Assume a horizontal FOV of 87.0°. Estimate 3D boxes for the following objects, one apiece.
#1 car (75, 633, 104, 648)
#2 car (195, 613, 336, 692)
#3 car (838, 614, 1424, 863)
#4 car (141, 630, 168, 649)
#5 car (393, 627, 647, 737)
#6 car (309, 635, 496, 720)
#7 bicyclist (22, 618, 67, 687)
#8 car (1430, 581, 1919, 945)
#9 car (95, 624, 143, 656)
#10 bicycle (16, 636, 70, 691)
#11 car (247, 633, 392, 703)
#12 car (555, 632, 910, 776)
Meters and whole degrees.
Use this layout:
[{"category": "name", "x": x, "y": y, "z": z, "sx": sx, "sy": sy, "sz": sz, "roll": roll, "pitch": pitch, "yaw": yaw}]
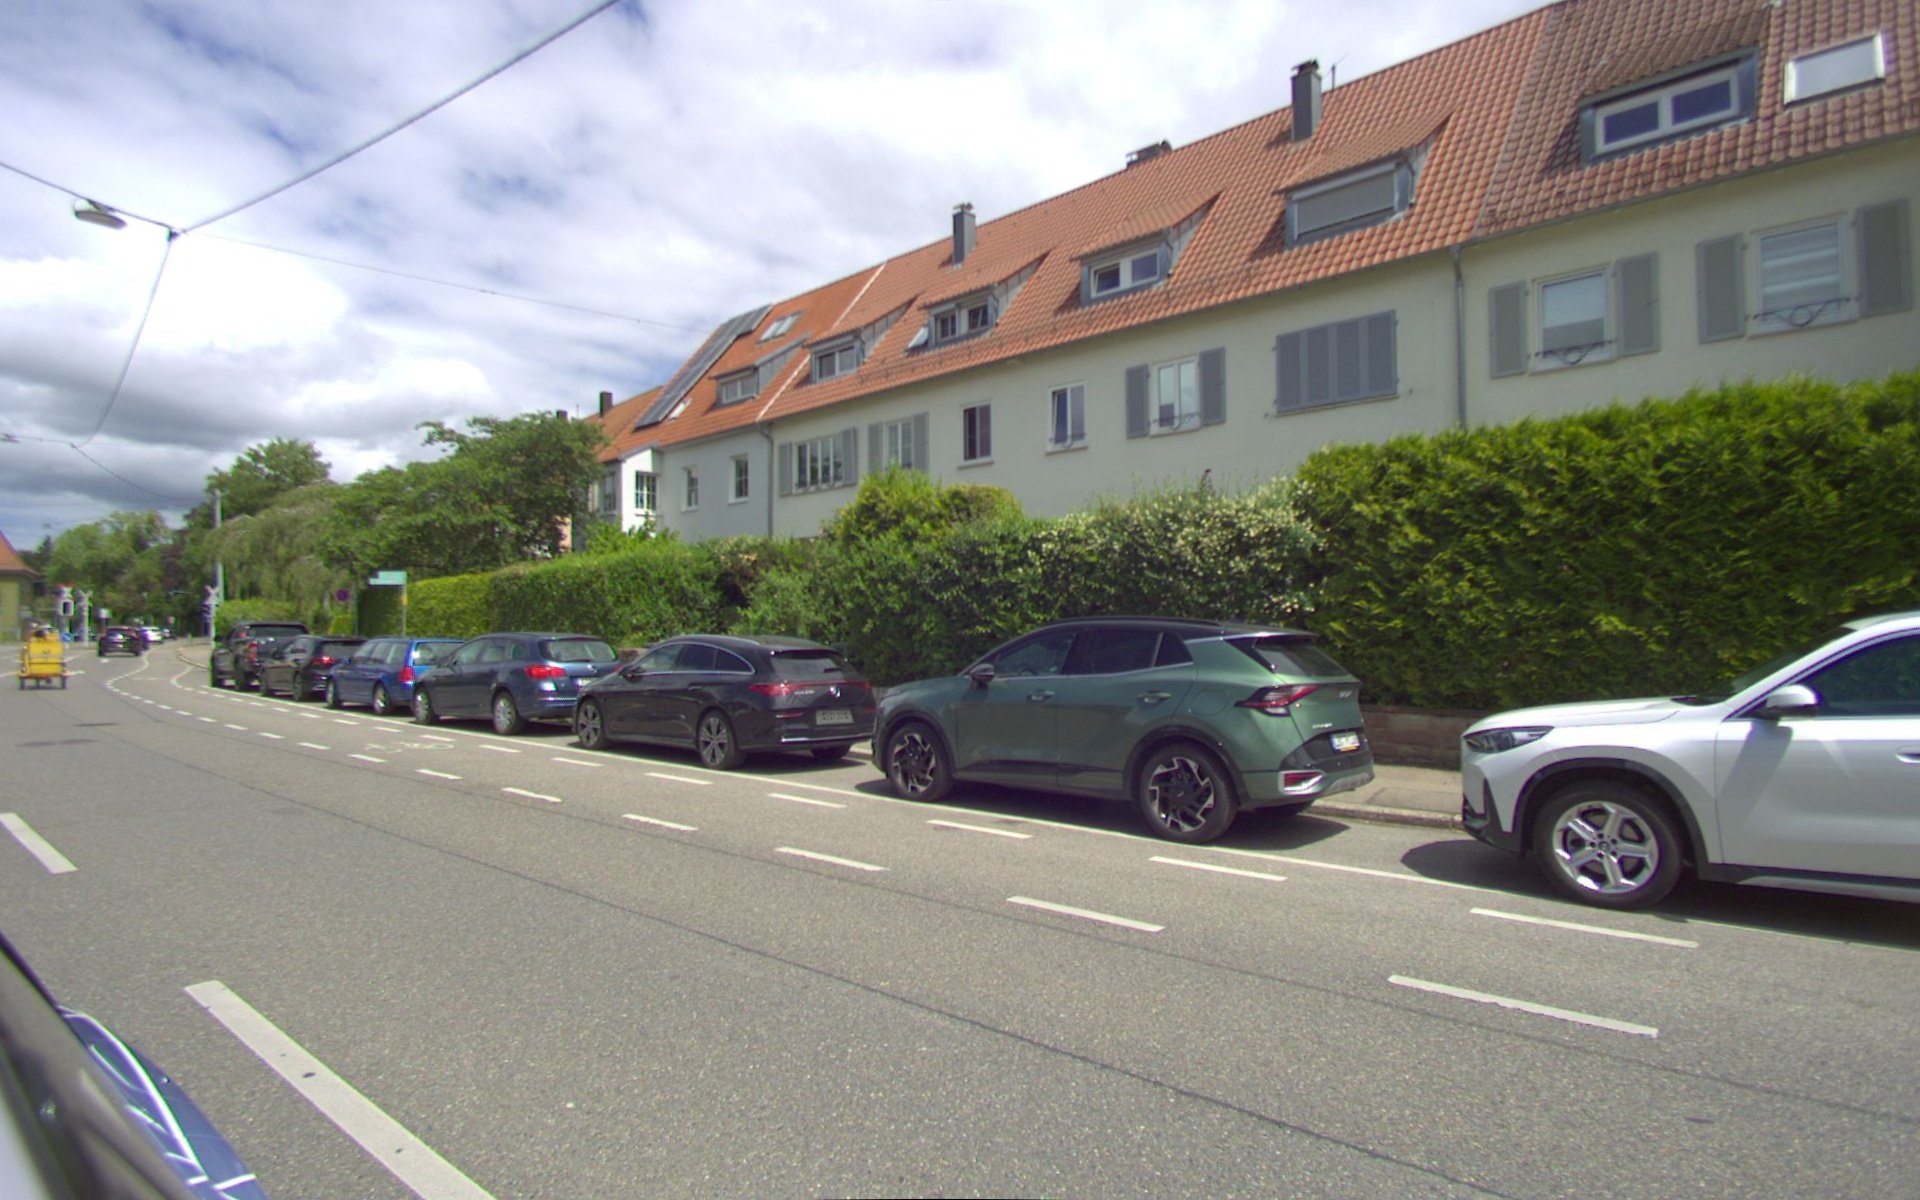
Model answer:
[{"category": "car", "x": -92.421, "y": 4.284, "z": 107.489, "sx": 1.967, "sy": 1.438, "sz": 4.009, "roll": -1, "pitch": 0, "yaw": -37}, {"category": "car", "x": -18.630, "y": 1.373, "z": 27.033, "sx": 5.404, "sy": 1.909, "sz": 1.971, "roll": -2, "pitch": -4, "yaw": 44}, {"category": "car", "x": 1.220, "y": 0.941, "z": 8.744, "sx": 4.689, "sy": 1.576, "sz": 1.972, "roll": -2, "pitch": -2, "yaw": 43}, {"category": "car", "x": -72.784, "y": 3.538, "z": 91.448, "sx": 1.824, "sy": 1.587, "sz": 4.166, "roll": 0, "pitch": -1, "yaw": -39}, {"category": "car", "x": -7.043, "y": 1.193, "z": 16.006, "sx": 4.560, "sy": 1.503, "sz": 1.760, "roll": -1, "pitch": -2, "yaw": 38}, {"category": "car", "x": -10.828, "y": 1.403, "z": 19.515, "sx": 4.438, "sy": 1.428, "sz": 1.759, "roll": -2, "pitch": -2, "yaw": 41}, {"category": "bicyclist", "x": -23.432, "y": 1.322, "z": 25.901, "sx": 0.783, "sy": 1.727, "sz": 1.209, "roll": 1, "pitch": -2, "yaw": -45}, {"category": "car", "x": 5.145, "y": 0.758, "z": 5.290, "sx": 4.514, "sy": 1.663, "sz": 1.973, "roll": -2, "pitch": -2, "yaw": 41}, {"category": "car", "x": -46.816, "y": 2.212, "z": 56.415, "sx": 1.892, "sy": 1.661, "sz": 4.301, "roll": 6, "pitch": -5, "yaw": -39}, {"category": "bicycle", "x": -23.478, "y": 1.591, "z": 25.888, "sx": 2.662, "sy": 1.311, "sz": 0.854, "roll": -2, "pitch": -2, "yaw": 45}, {"category": "car", "x": -14.705, "y": 1.478, "z": 23.157, "sx": 4.339, "sy": 1.428, "sz": 1.758, "roll": -2, "pitch": -2, "yaw": 43}, {"category": "car", "x": -2.945, "y": 1.112, "z": 12.447, "sx": 4.689, "sy": 1.419, "sz": 1.972, "roll": -2, "pitch": -2, "yaw": 43}]
